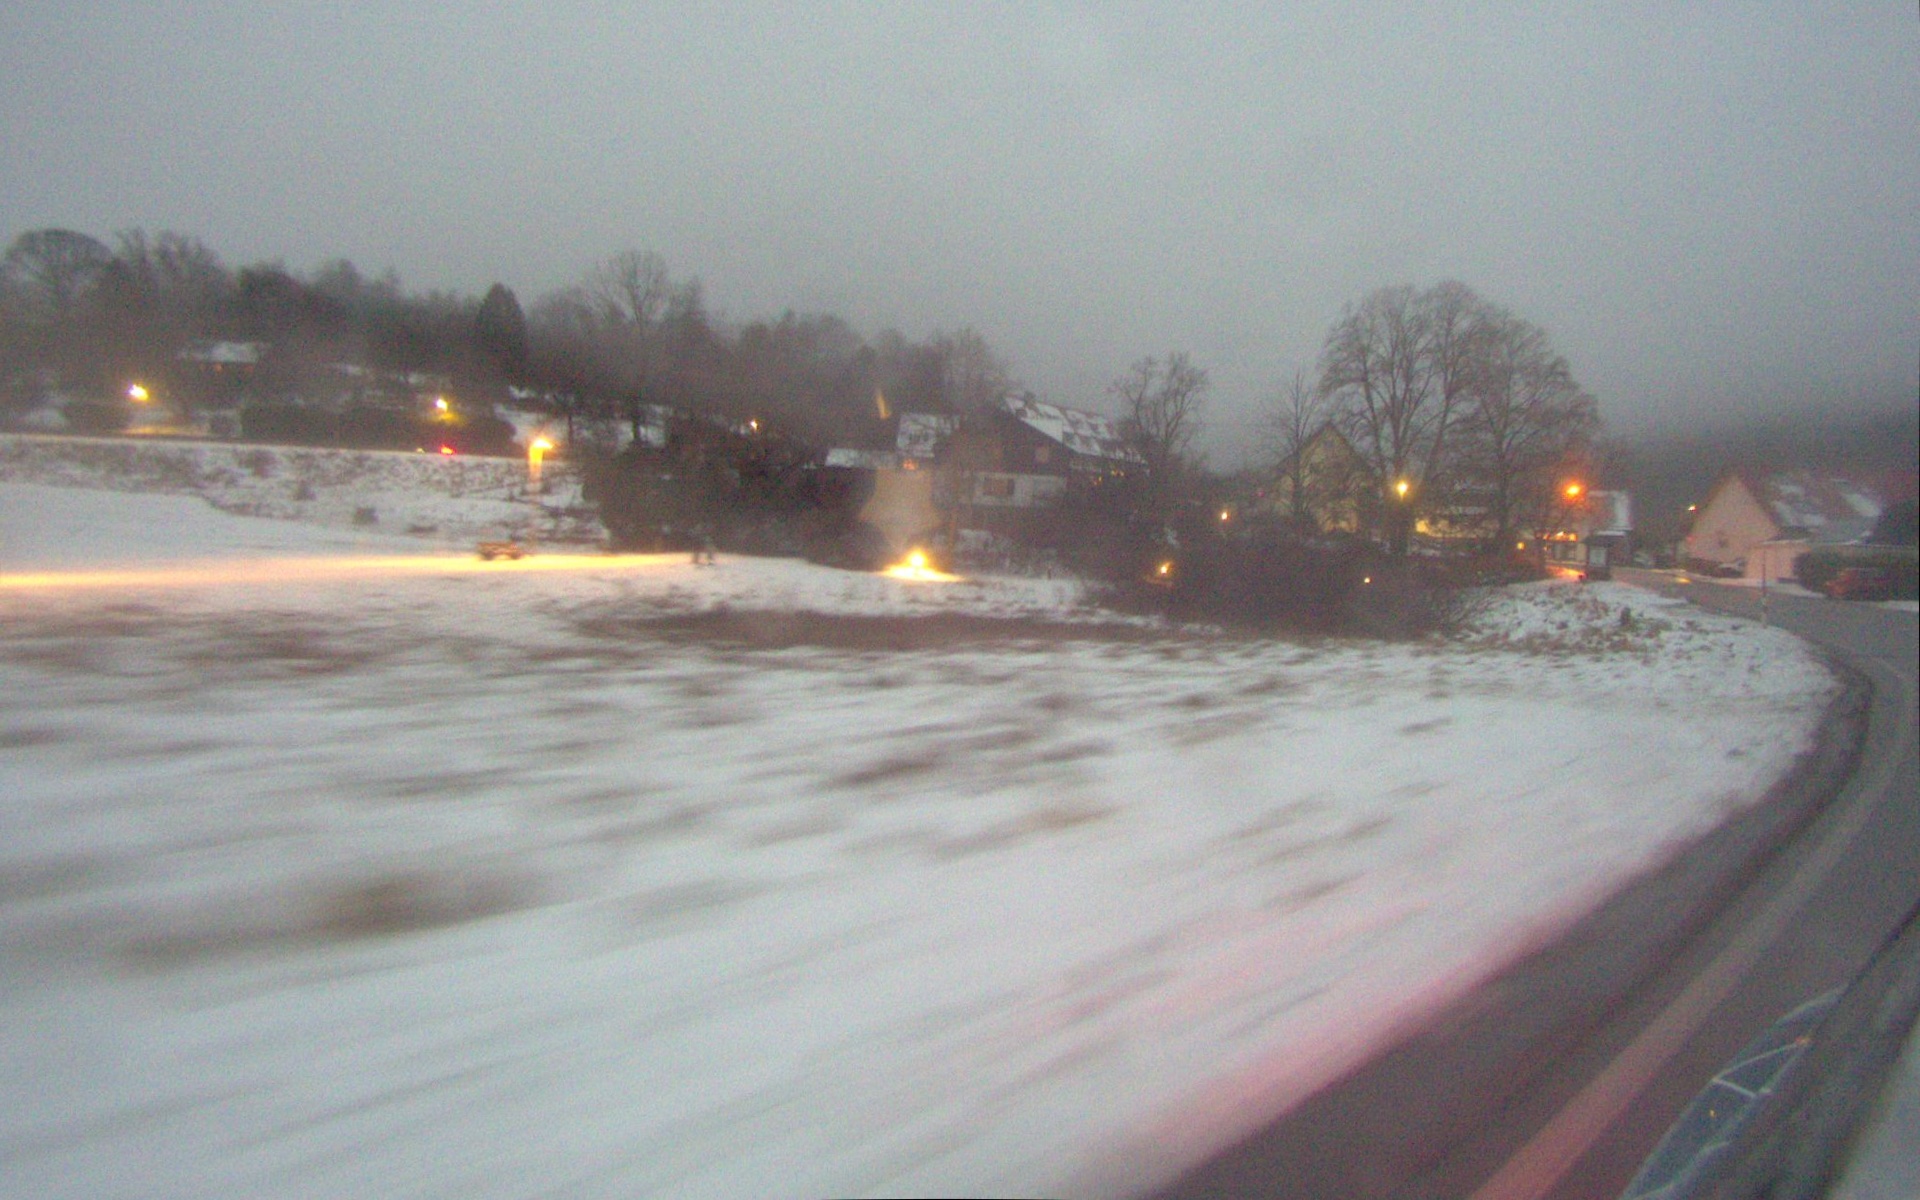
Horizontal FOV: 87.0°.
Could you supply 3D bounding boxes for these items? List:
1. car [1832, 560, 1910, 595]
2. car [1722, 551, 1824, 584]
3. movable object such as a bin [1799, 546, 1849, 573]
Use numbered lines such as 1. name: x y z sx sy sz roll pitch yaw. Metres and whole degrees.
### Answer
1. car: 43.899 -1.123 48.853 1.706 1.552 3.490 3 4 24
2. car: 59.622 -2.442 74.350 5.213 2.036 2.203 3 7 20
3. movable object such as a bin: 55.003 -2.574 64.425 2.364 1.669 1.419 0 3 44
